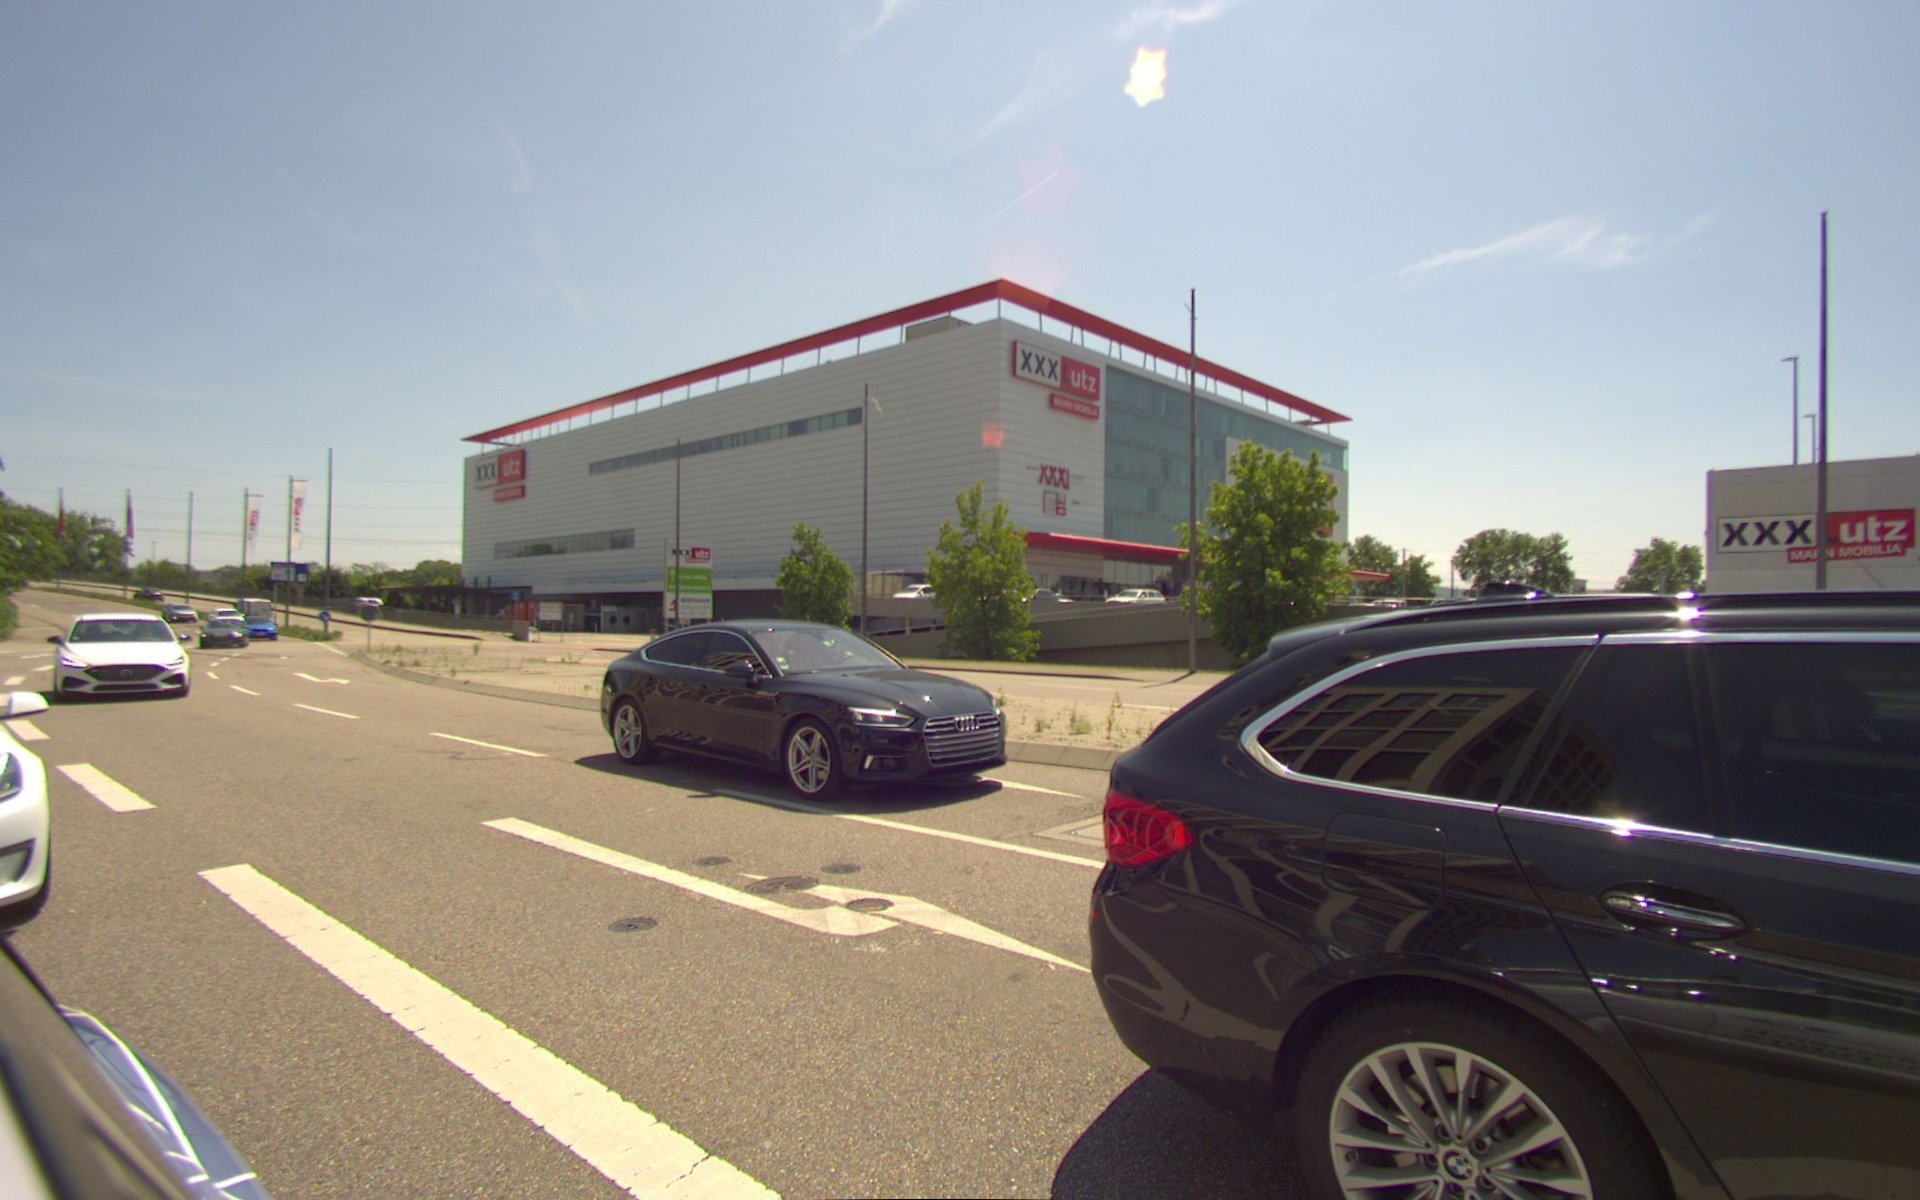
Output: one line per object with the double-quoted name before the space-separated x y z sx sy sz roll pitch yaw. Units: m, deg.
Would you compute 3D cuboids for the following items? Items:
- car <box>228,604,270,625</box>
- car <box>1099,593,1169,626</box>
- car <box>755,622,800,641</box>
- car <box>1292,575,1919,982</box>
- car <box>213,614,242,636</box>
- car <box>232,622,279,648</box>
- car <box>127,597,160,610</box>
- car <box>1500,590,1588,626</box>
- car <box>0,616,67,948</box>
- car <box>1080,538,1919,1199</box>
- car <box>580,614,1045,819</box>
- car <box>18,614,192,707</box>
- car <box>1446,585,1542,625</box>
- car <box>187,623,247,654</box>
"car" -64.337 1.339 91.541 4.834 1.864 1.813 -1 -2 38
"car" 9.928 0.579 57.562 2.001 1.781 4.140 0 -2 44
"car" -16.757 2.917 93.152 1.911 1.632 3.698 0 -2 41
"car" 3.806 0.672 4.663 3.991 1.505 1.782 -1 -1 36
"car" -54.526 1.871 75.308 1.653 1.587 4.066 1 -1 -37
"car" -41.642 2.040 59.761 1.775 1.424 4.412 1 -2 -41
"car" -86.652 0.371 107.335 3.888 1.312 1.838 -1 -3 38
"car" 32.367 0.478 56.129 3.996 1.923 1.974 -1 -2 39
"car" -6.308 0.824 5.224 4.401 1.436 1.857 -1 -1 39
"car" 2.625 0.635 1.661 4.620 1.477 1.781 -1 -1 40
"car" -1.547 0.864 9.168 4.533 1.401 1.729 -2 -2 43
"car" -15.173 1.002 17.887 4.228 1.461 1.712 -1 -2 41
"car" 27.021 0.287 51.276 3.998 1.946 1.973 -1 -2 41
"car" -35.789 1.820 48.724 1.776 1.388 4.410 1 -1 -43
